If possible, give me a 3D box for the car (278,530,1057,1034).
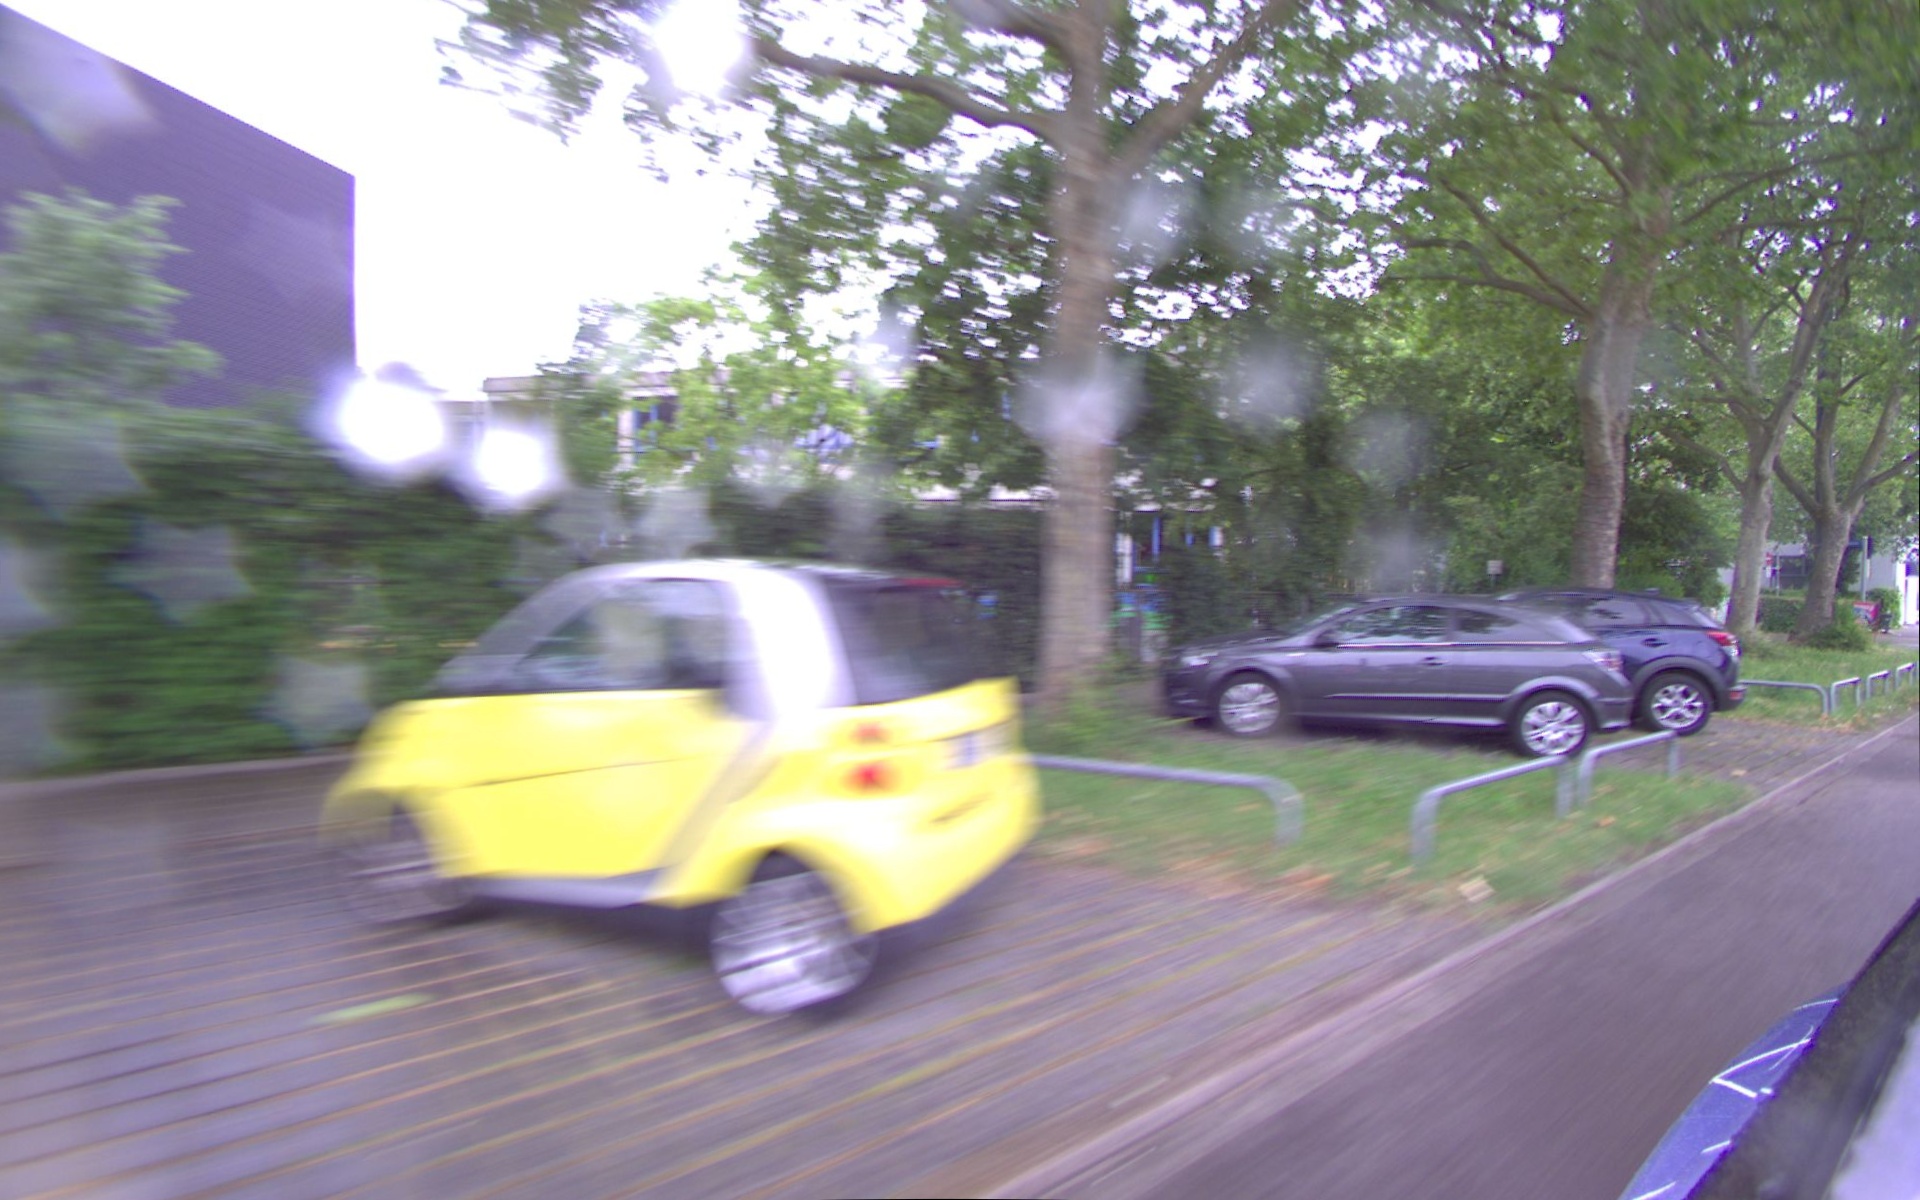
[{"bbox_3d":[-1.200,0.502,4.392,2.871,1.484,1.593,3,3,22],"label":"car"}]

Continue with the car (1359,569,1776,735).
[{"bbox_3d":[6.808,0.503,11.855,3.754,1.551,1.873,3,2,18],"label":"car"}]

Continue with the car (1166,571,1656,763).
[{"bbox_3d":[4.109,0.531,9.904,4.003,1.435,1.736,3,3,14],"label":"car"}]
